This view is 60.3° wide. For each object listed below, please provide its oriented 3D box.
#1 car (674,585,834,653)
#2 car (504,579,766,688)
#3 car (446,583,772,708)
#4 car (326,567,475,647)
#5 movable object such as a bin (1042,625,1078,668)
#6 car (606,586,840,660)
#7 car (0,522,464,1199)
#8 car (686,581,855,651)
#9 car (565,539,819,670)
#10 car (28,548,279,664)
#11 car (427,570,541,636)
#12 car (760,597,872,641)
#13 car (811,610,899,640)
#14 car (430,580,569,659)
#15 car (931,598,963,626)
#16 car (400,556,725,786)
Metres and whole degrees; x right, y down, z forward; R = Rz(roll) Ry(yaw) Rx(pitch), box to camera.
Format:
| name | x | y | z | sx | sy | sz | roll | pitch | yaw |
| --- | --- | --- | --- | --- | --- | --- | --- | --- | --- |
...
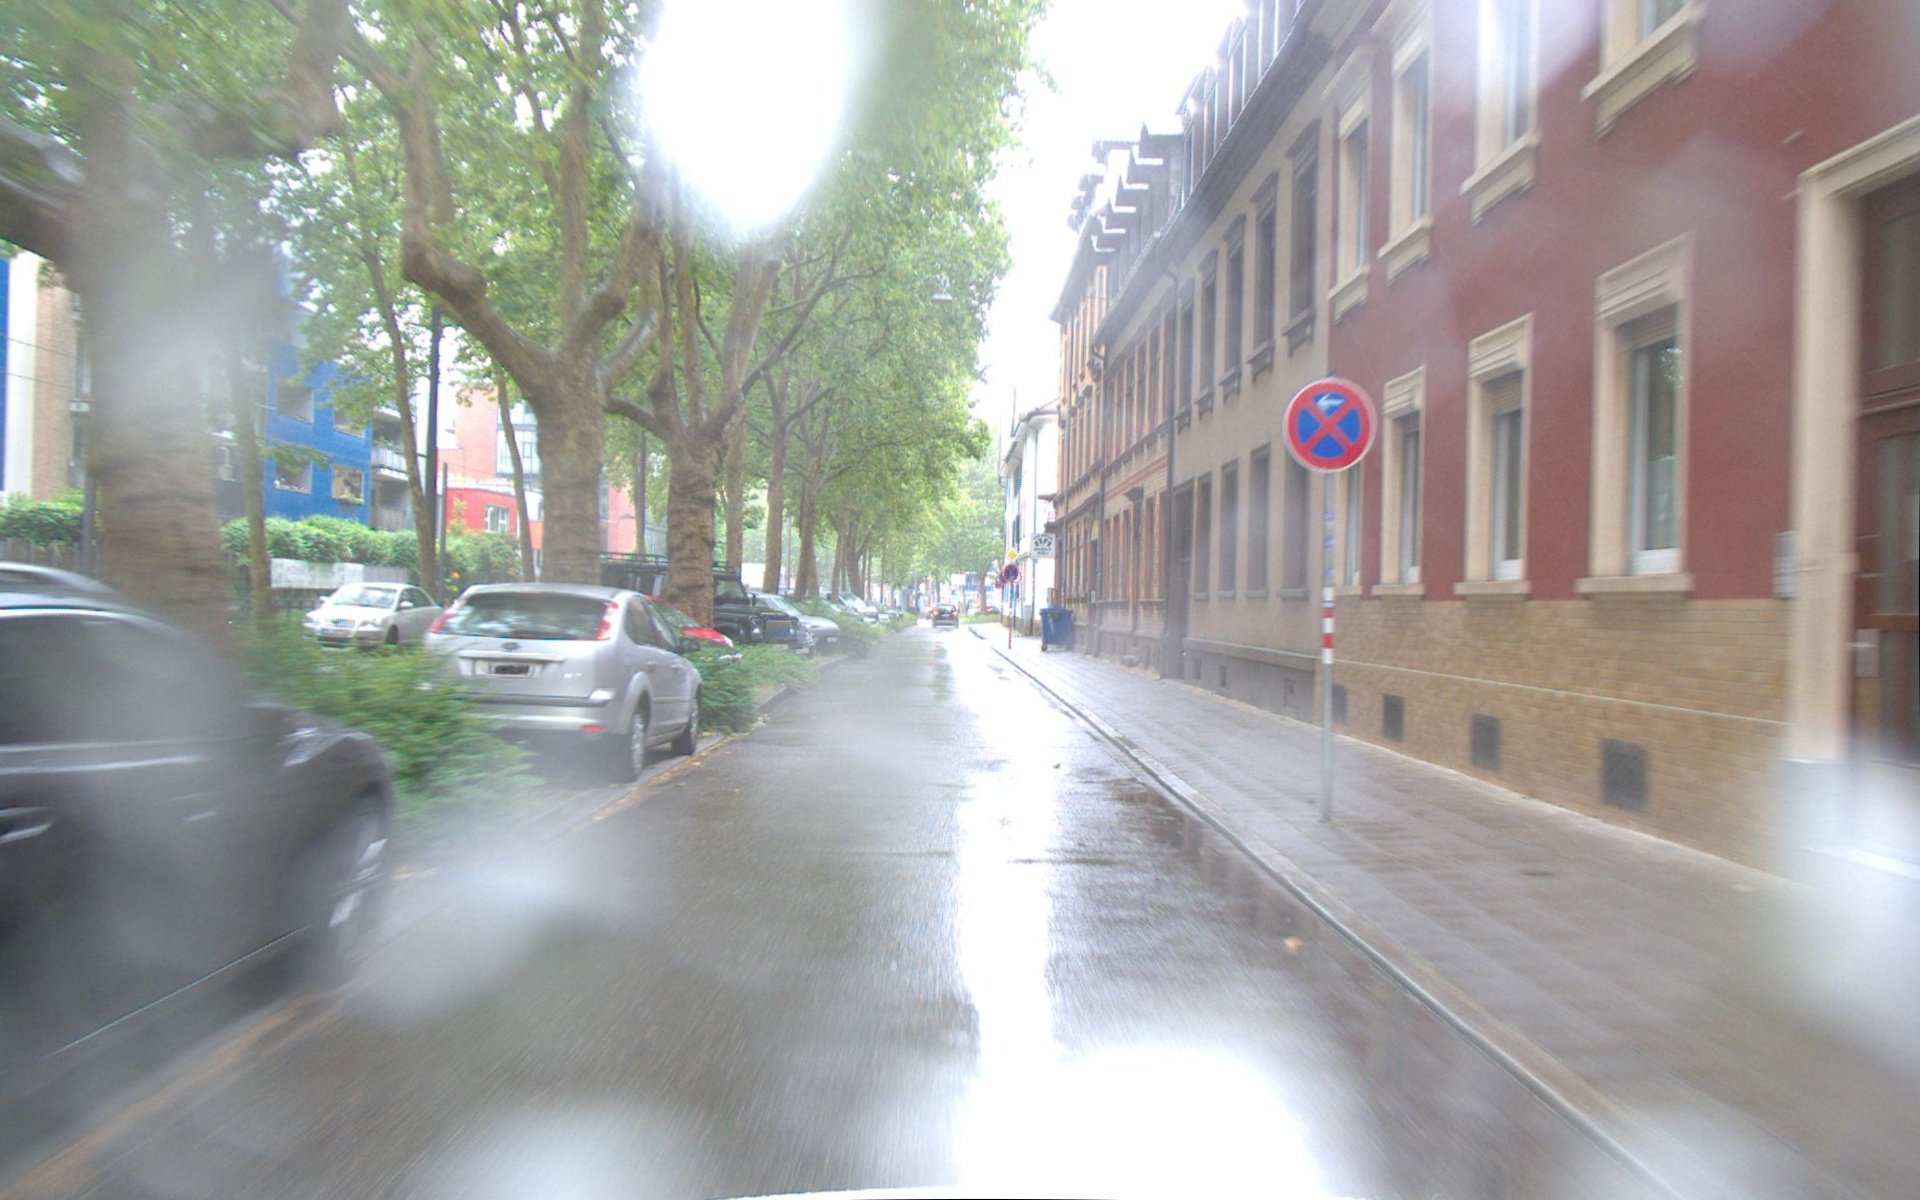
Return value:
| name | x | y | z | sx | sy | sz | roll | pitch | yaw |
| --- | --- | --- | --- | --- | --- | --- | --- | --- | --- |
| car | -4.980 | 0.449 | 39.972 | 3.428 | 1.493 | 1.642 | 2 | -1 | 21 |
| car | -4.838 | 0.478 | 24.650 | 3.424 | 1.461 | 1.779 | 2 | -1 | 27 |
| car | -4.707 | 0.578 | 22.190 | 3.953 | 1.460 | 1.780 | 2 | -1 | 24 |
| car | -12.250 | 0.154 | 36.512 | 1.866 | 1.561 | 4.419 | 3 | -1 | -2 |
| movable object such as a bin | 3.136 | 1.458 | 52.072 | 1.000 | 1.324 | 1.366 | -1 | 0 | -1 |
| car | -4.933 | 0.466 | 34.318 | 4.555 | 1.349 | 1.845 | 2 | -1 | 27 |
| car | -2.984 | 0.536 | 4.464 | 1.858 | 1.511 | 4.620 | 4 | -1 | -1 |
| car | -4.892 | 0.417 | 42.672 | 3.977 | 1.564 | 1.832 | 3 | 0 | 30 |
| car | -5.148 | 0.063 | 31.570 | 4.562 | 2.323 | 2.006 | 1 | -1 | 33 |
| car | -12.331 | 0.102 | 25.625 | 1.866 | 1.561 | 4.214 | 3 | -1 | -2 |
| car | -12.526 | 0.091 | 43.822 | 1.866 | 1.561 | 4.214 | 3 | -1 | -2 |
| car | -6.914 | 0.907 | 79.094 | 5.020 | 2.012 | 2.098 | 1 | -1 | 30 |
| car | -5.626 | 1.348 | 88.455 | 4.461 | 1.508 | 1.771 | 1 | -1 | 30 |
| car | -9.462 | 0.416 | 34.312 | 1.797 | 1.445 | 3.998 | 4 | -1 | -2 |
| car | -0.861 | 0.821 | 108.759 | 1.953 | 1.668 | 3.999 | 3 | -1 | -1 |
| car | -3.159 | 0.530 | 14.011 | 1.694 | 1.541 | 4.206 | 4 | -1 | -1 |
